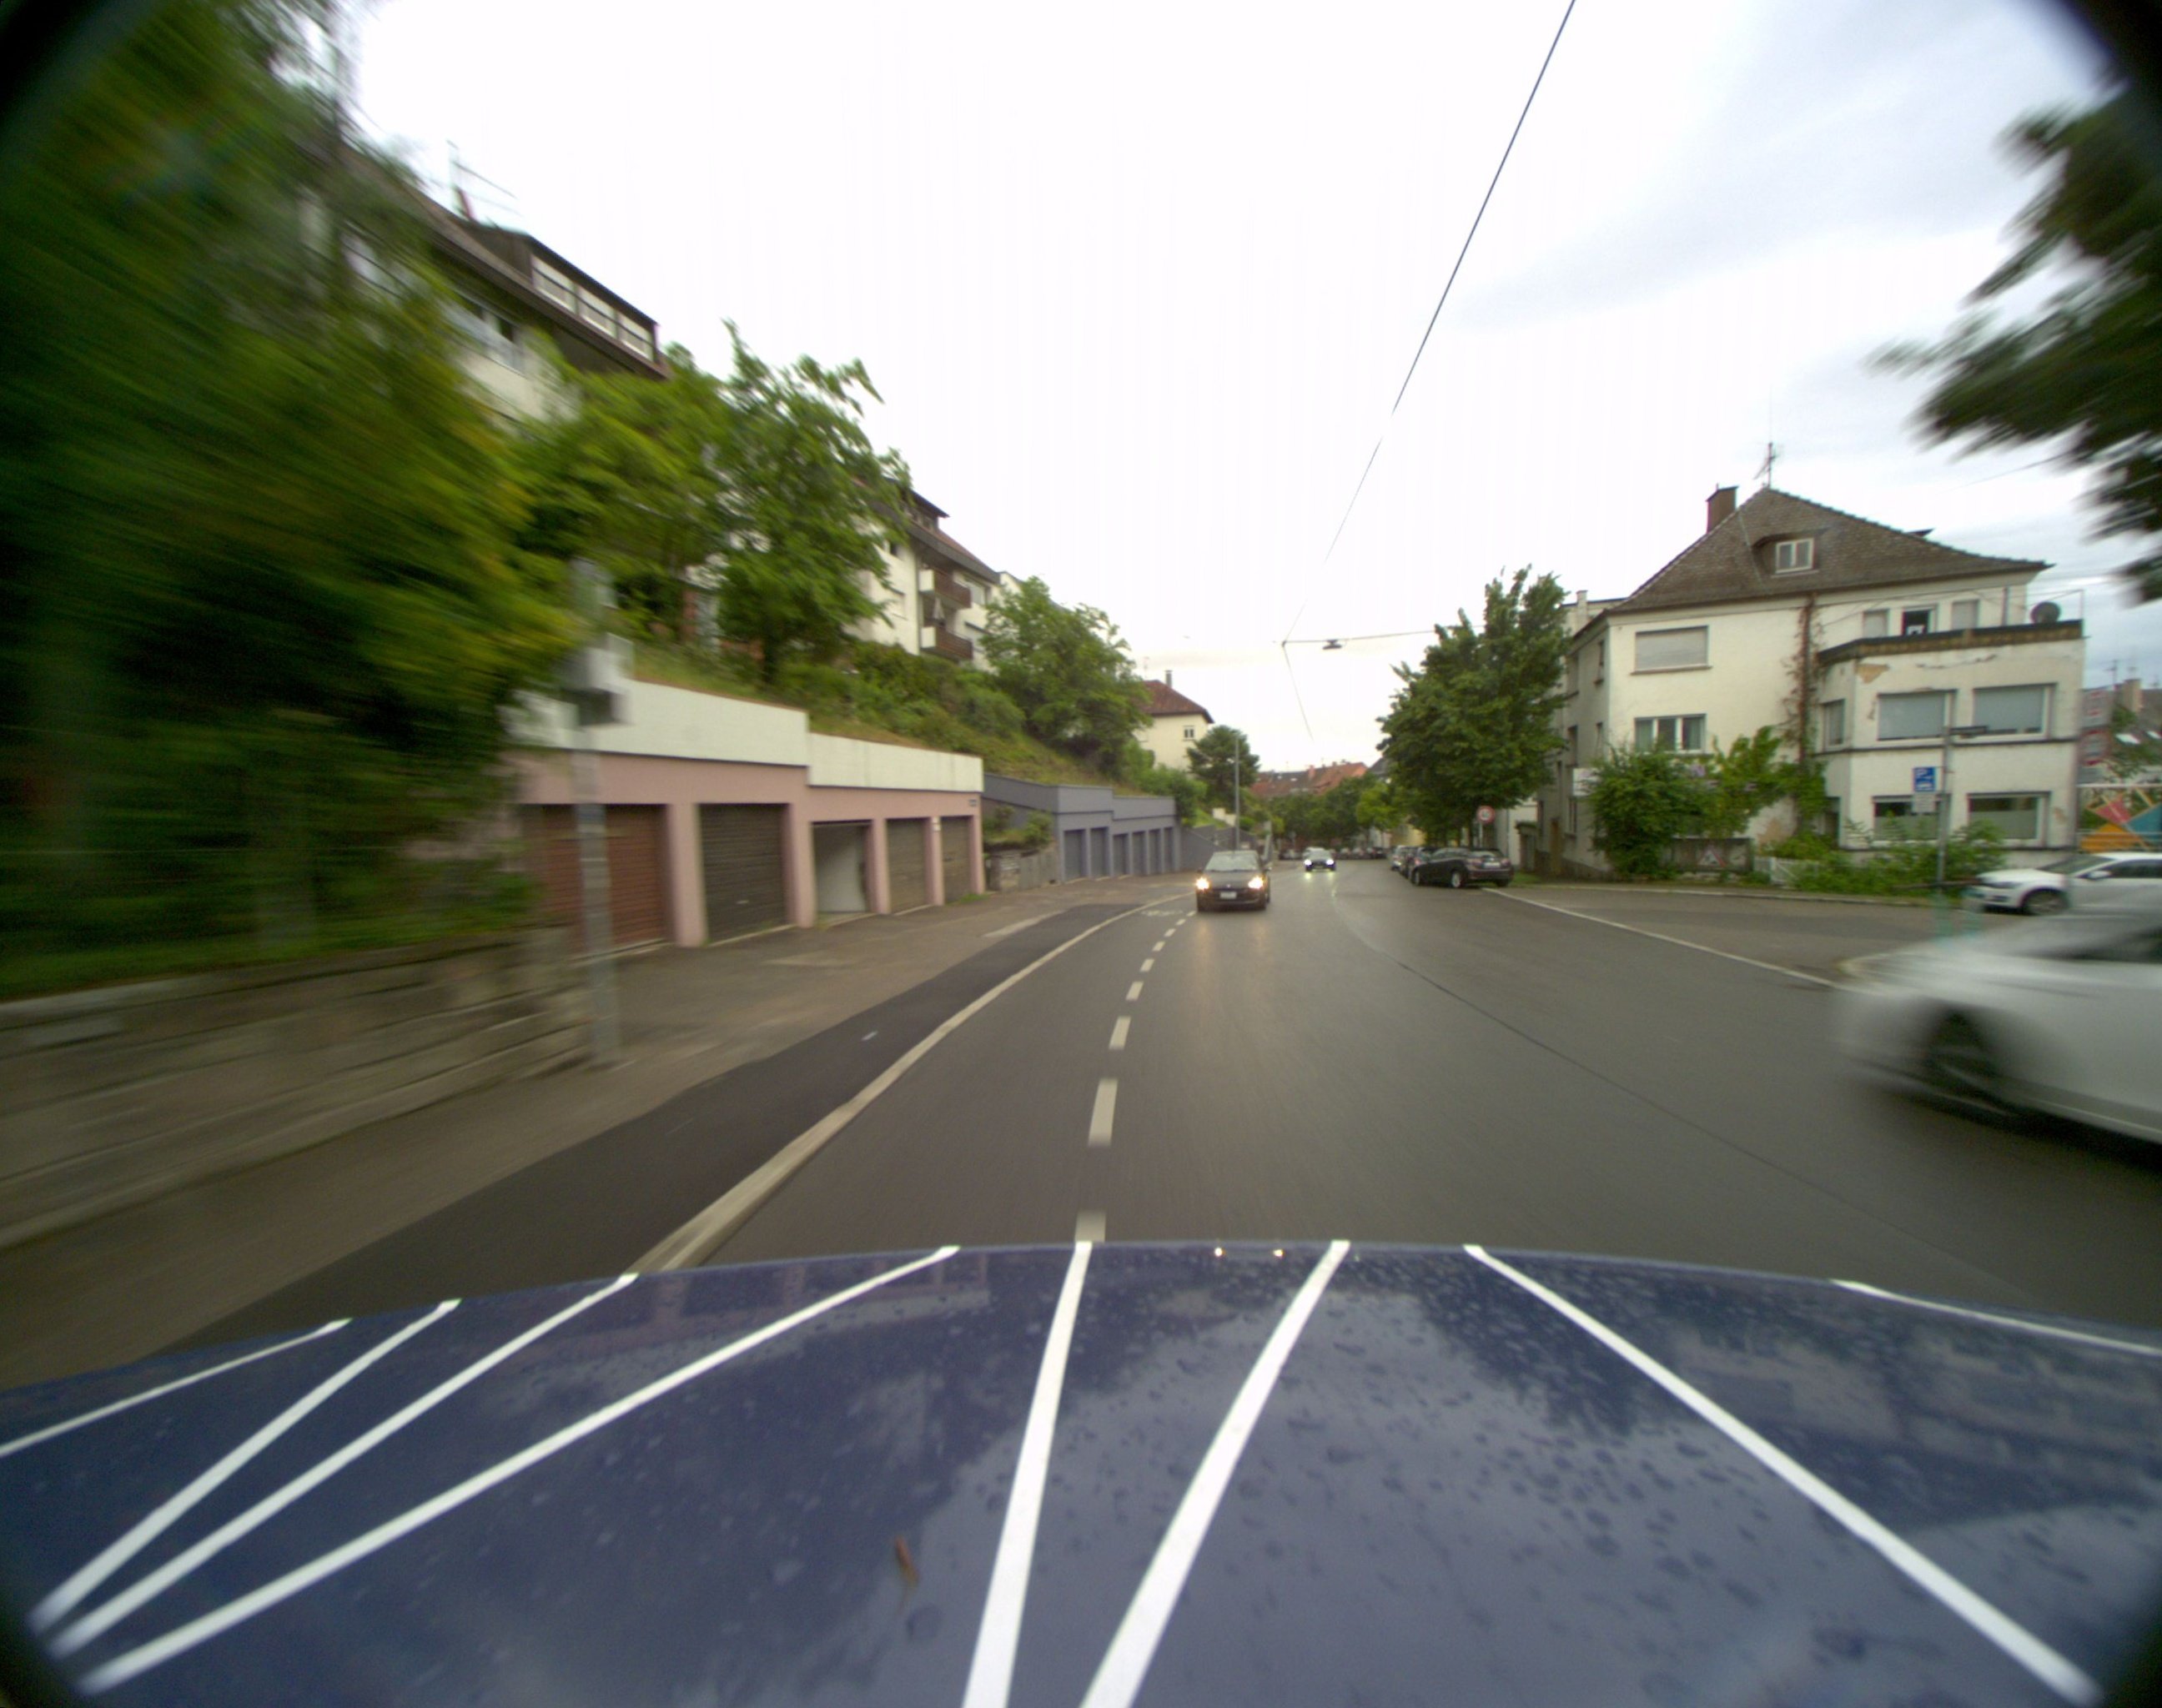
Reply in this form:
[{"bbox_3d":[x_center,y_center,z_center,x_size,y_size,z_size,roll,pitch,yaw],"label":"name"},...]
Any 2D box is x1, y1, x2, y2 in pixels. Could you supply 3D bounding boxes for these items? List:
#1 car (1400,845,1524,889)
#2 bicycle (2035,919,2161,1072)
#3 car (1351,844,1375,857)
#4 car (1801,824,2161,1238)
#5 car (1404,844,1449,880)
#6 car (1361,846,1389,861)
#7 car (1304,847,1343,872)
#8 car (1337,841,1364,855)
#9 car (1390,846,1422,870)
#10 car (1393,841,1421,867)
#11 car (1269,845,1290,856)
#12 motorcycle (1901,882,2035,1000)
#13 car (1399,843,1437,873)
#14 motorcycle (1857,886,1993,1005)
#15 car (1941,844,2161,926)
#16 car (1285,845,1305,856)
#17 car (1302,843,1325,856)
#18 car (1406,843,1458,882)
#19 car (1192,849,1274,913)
[{"bbox_3d":[13.324,0.400,26.905,1.999,1.383,4.195,-2,1,-5],"label":"car"},{"bbox_3d":[9.064,1.085,6.091,1.968,1.054,0.754,-1,1,-3],"label":"bicycle"},{"bbox_3d":[33.456,-0.424,90.288,1.617,1.388,4.325,-2,0,7],"label":"car"},{"bbox_3d":[5.634,0.774,2.553,1.989,1.778,4.695,1,0,1],"label":"car"},{"bbox_3d":[17.368,0.355,38.340,1.806,1.617,4.145,-2,1,21],"label":"car"},{"bbox_3d":[32.974,-0.090,85.246,1.778,1.531,4.518,-3,0,7],"label":"car"},{"bbox_3d":[16.575,0.333,51.892,1.995,1.502,4.217,-2,0,24],"label":"car"},{"bbox_3d":[33.789,-0.729,95.355,1.858,1.680,4.555,-1,0,1],"label":"car"},{"bbox_3d":[22.957,0.264,53.798,1.806,1.445,4.602,-2,1,21],"label":"car"},{"bbox_3d":[27.499,-0.016,64.209,1.916,1.990,4.553,-2,2,21],"label":"car"},{"bbox_3d":[33.059,-0.540,126.675,1.792,1.631,4.478,-3,0,-5],"label":"car"},{"bbox_3d":[10.445,0.979,9.004,0.553,1.221,1.307,-1,1,26],"label":"motorcycle"},{"bbox_3d":[19.735,0.185,44.612,1.806,1.544,4.805,2,3,21],"label":"car"},{"bbox_3d":[9.700,0.999,8.794,0.557,1.196,1.401,-1,1,26],"label":"motorcycle"},{"bbox_3d":[22.768,0.680,17.052,4.092,1.510,2.003,5,6,33],"label":"car"},{"bbox_3d":[34.034,-0.531,121.163,1.751,1.680,4.599,-3,0,-1],"label":"car"},{"bbox_3d":[34.358,-0.625,112.469,1.859,1.766,4.482,-3,0,-1],"label":"car"},{"bbox_3d":[14.491,0.349,31.536,1.714,1.454,3.887,-3,-1,22],"label":"car"},{"bbox_3d":[4.040,0.629,19.739,1.696,1.456,4.005,-1,0,17],"label":"car"}]
